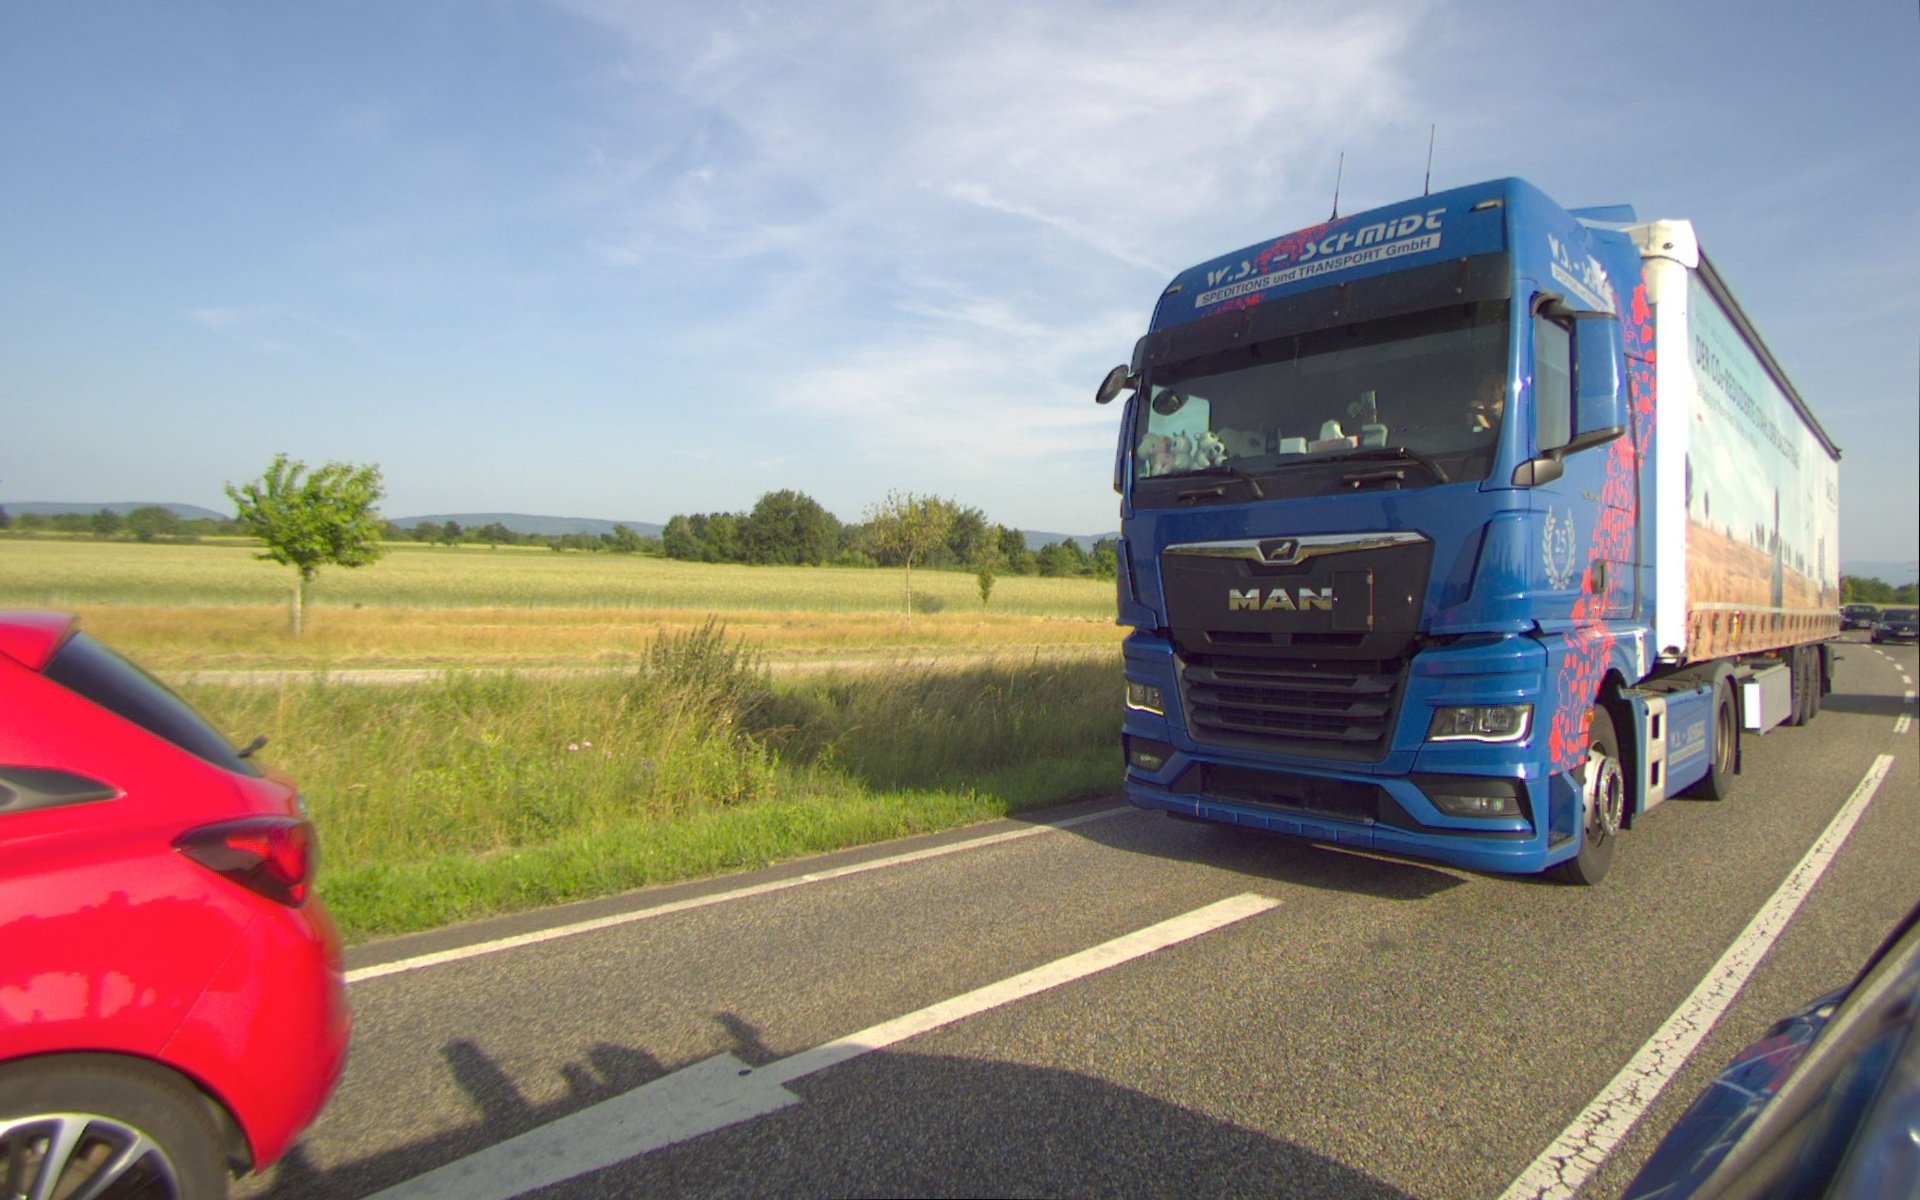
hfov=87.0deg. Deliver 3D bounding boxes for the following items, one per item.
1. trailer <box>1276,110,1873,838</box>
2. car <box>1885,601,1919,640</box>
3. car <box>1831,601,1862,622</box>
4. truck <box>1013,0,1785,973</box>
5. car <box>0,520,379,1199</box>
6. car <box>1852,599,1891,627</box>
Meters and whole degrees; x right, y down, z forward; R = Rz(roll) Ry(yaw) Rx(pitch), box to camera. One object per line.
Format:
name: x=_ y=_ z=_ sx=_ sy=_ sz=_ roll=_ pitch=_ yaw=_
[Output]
trailer: x=8.508 y=-0.861 z=12.352 sx=3.283 sy=4.740 sz=12.934 roll=0 pitch=0 yaw=45
car: x=38.922 y=0.821 z=41.272 sx=1.579 sy=1.523 sz=3.607 roll=2 pitch=1 yaw=40
car: x=63.244 y=0.784 z=72.239 sx=1.551 sy=1.417 sz=3.976 roll=2 pitch=1 yaw=40
truck: x=3.490 y=-0.851 z=7.338 sx=5.639 sy=4.716 sz=3.302 roll=0 pitch=0 yaw=-45
car: x=-3.115 y=0.624 z=1.422 sx=3.688 sy=1.568 sz=1.698 roll=0 pitch=1 yaw=-44
car: x=53.584 y=0.742 z=59.536 sx=1.551 sy=1.579 sz=3.004 roll=2 pitch=1 yaw=40
